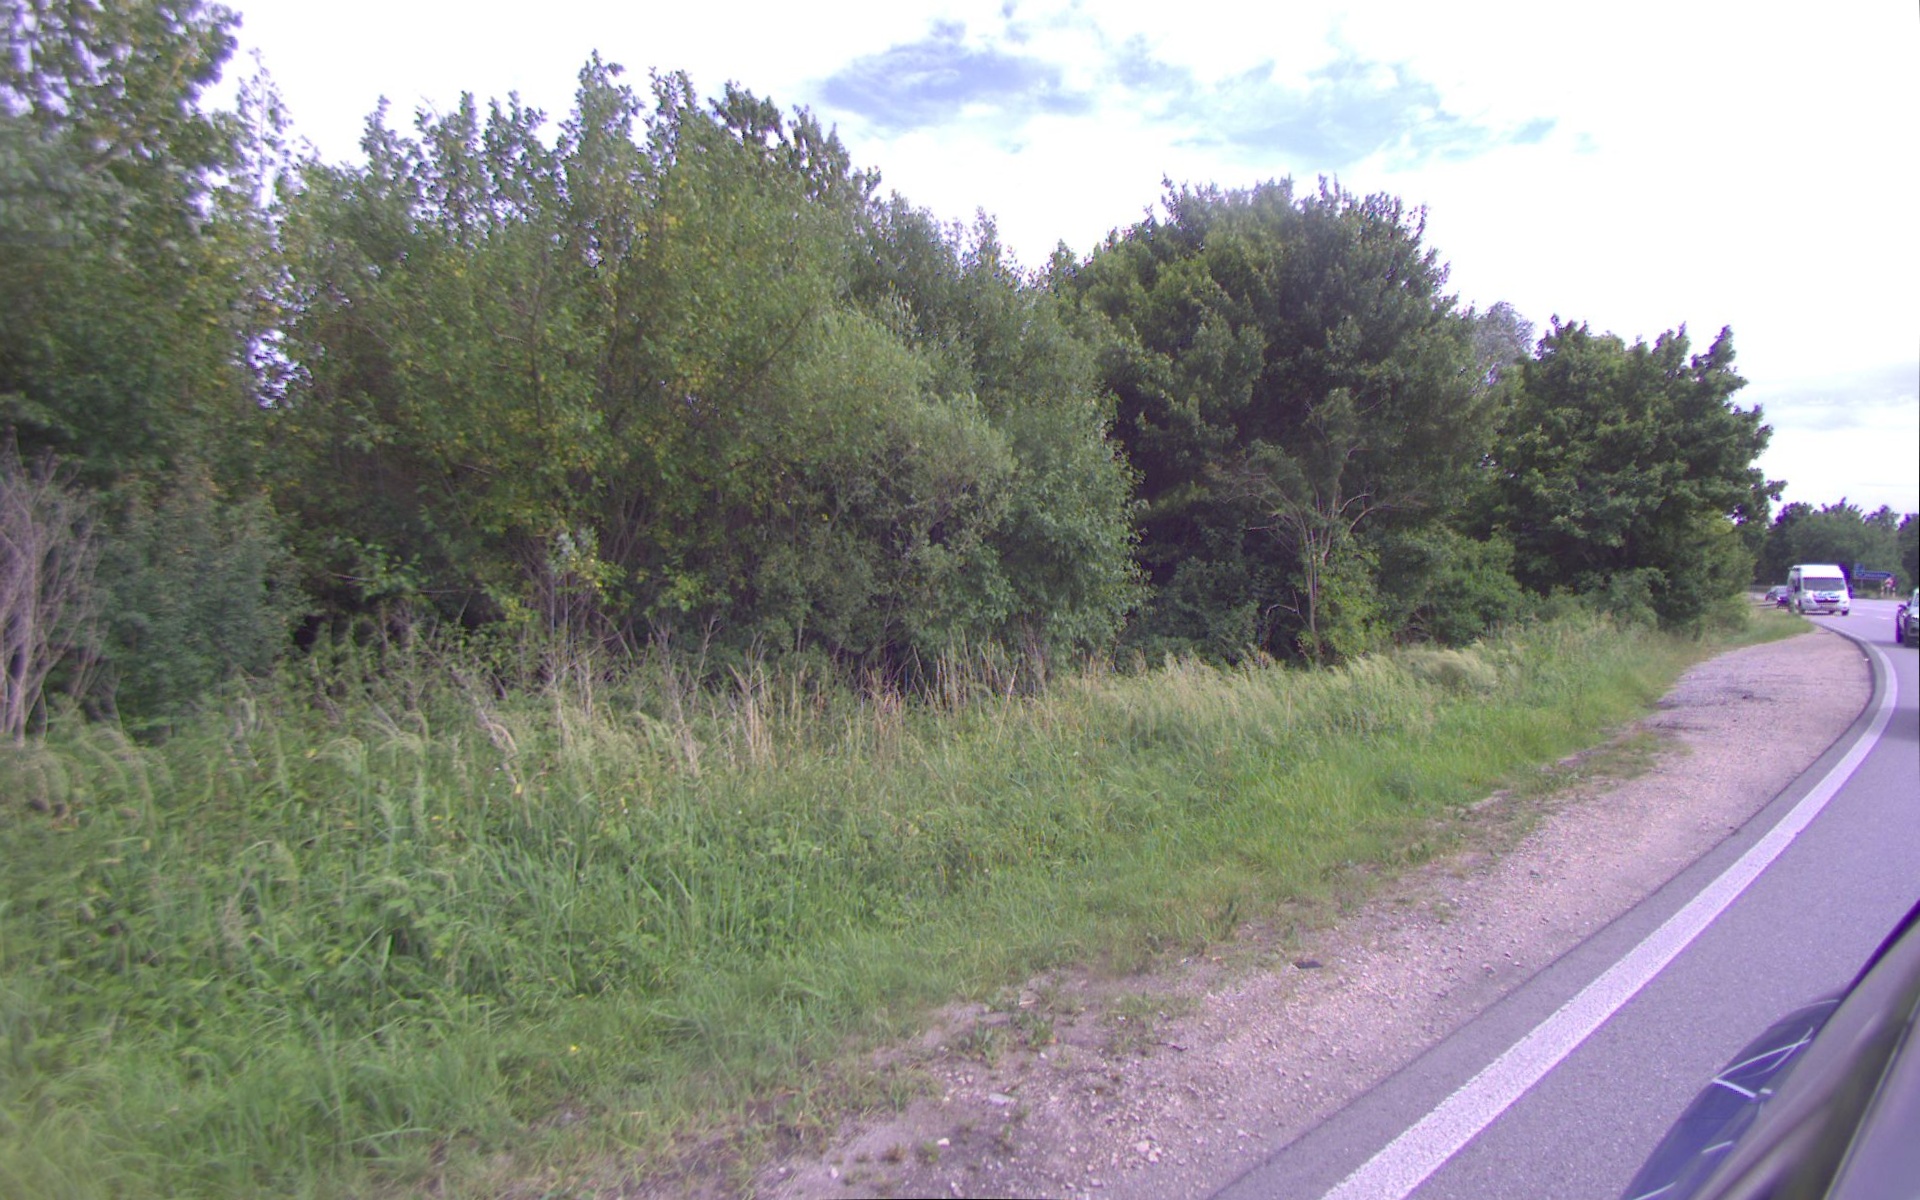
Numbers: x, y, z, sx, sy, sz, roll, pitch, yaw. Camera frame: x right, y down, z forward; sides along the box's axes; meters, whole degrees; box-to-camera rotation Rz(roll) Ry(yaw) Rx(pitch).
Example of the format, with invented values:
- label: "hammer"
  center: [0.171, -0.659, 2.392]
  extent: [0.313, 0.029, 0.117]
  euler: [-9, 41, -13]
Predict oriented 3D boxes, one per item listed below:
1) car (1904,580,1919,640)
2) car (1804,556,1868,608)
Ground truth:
- label: "car"
  center: [27.985, 0.270, 28.254]
  extent: [2.012, 1.633, 4.221]
  euler: [0, 1, 38]
- label: "car"
  center: [47.705, -0.933, 55.201]
  extent: [2.208, 2.704, 5.169]
  euler: [-1, -1, 37]
